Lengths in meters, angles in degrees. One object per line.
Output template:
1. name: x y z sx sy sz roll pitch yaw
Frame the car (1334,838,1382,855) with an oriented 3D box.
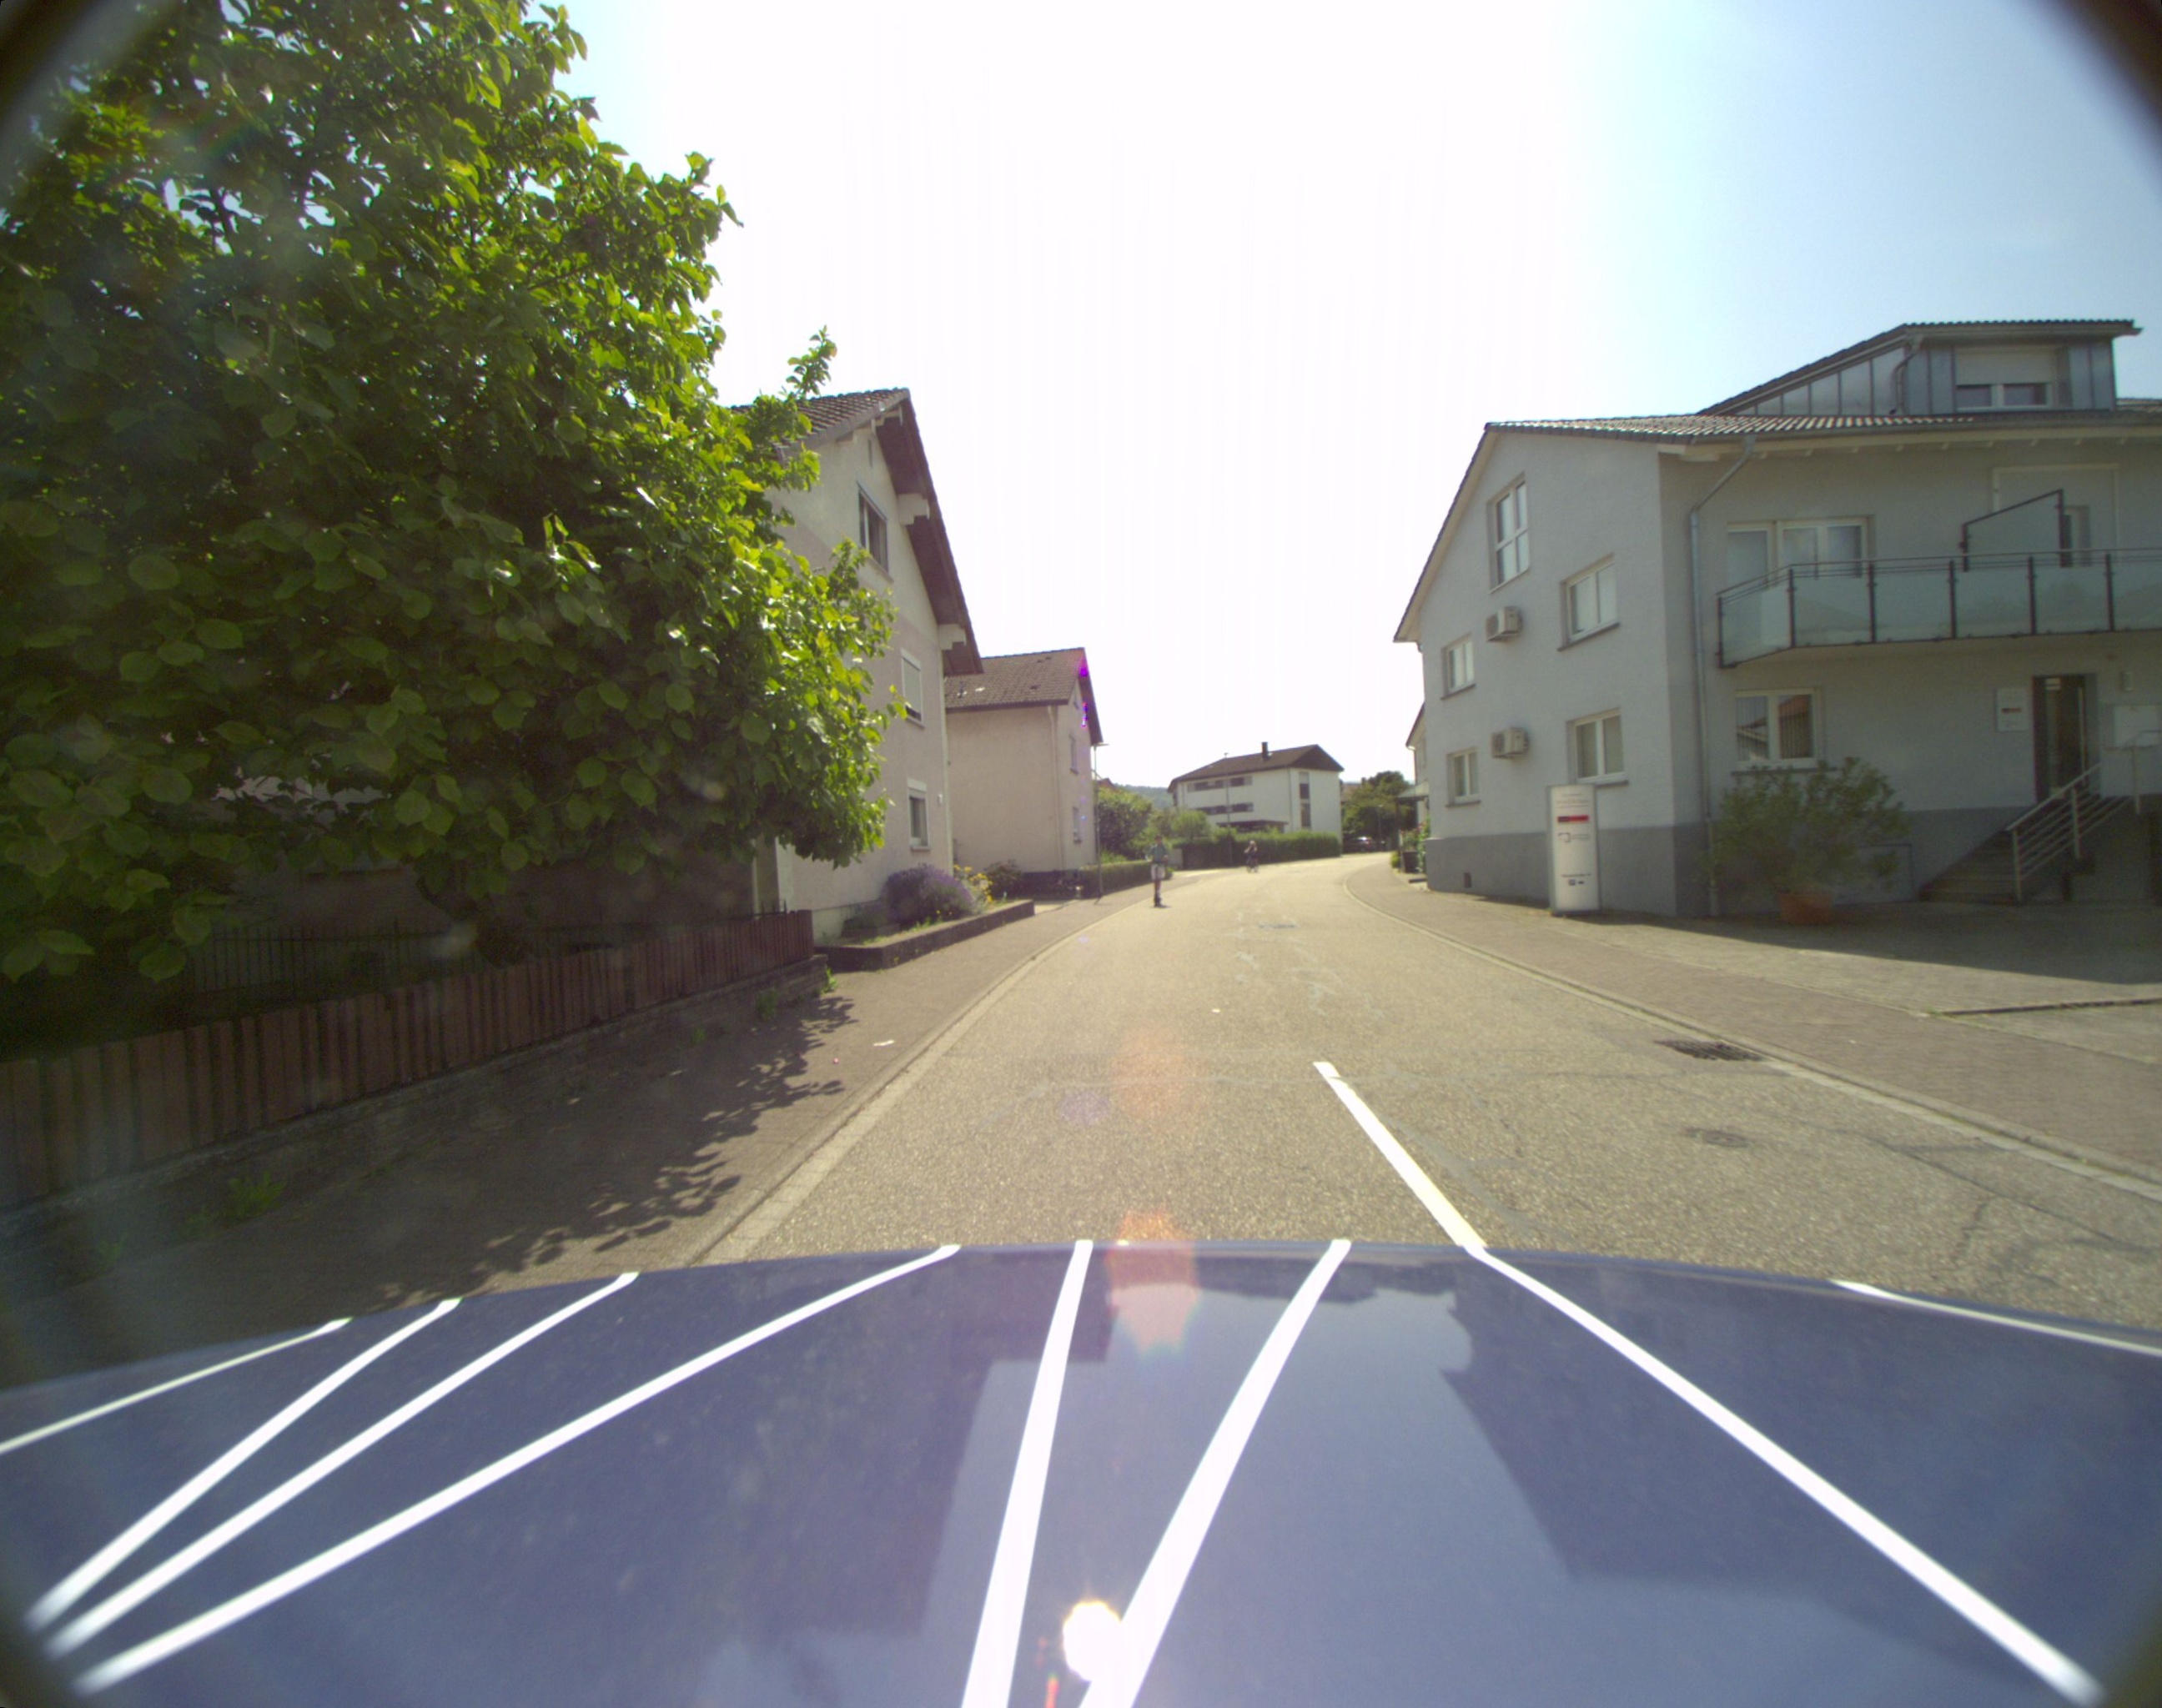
1. car: 28.970 -0.746 79.441 4.280 1.662 2.069 -1 2 40

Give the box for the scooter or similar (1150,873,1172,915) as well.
1. scooter or similar: 2.211 1.100 20.952 0.542 1.083 0.691 -3 1 7

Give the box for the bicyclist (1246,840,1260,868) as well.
1. bicyclist: 9.352 0.000 41.349 0.546 1.481 0.798 -2 1 22

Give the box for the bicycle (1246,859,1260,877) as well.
1. bicycle: 9.345 0.741 41.263 0.520 0.899 1.315 -2 1 22

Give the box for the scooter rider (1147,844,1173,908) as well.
1. scooter rider: 2.174 0.595 20.958 0.617 1.714 0.640 -3 1 7
